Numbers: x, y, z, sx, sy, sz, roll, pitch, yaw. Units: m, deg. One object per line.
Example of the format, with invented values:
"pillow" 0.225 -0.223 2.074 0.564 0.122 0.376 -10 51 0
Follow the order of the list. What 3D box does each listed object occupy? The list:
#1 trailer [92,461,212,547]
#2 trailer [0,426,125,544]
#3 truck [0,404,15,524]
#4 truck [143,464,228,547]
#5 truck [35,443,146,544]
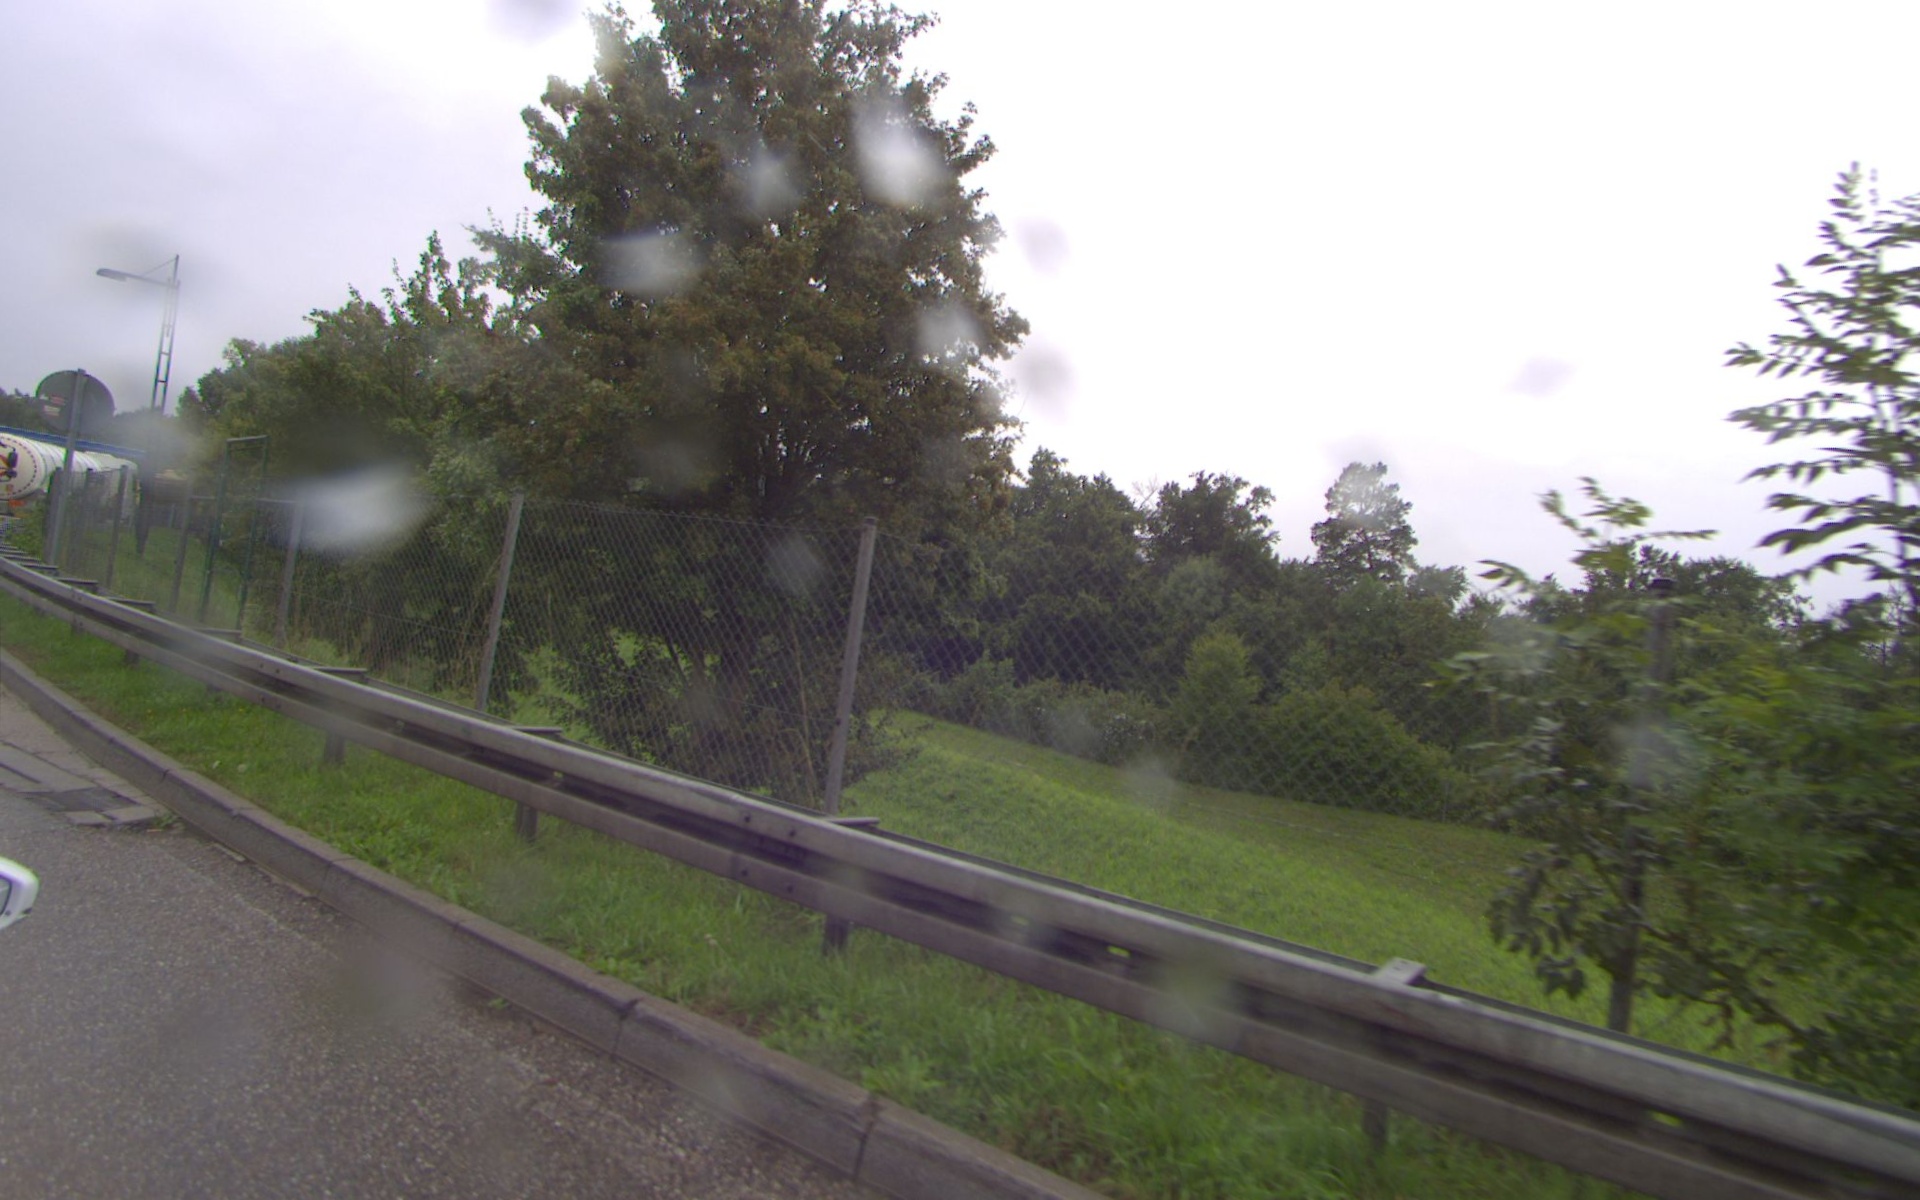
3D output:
"trailer" -39.741 -4.583 49.753 2.160 3.433 7.527 7 -1 -21
"trailer" -32.534 -3.927 35.771 2.114 3.481 10.179 7 -1 -28
"truck" -24.575 -3.141 24.116 2.044 3.573 4.696 8 -1 -38
"truck" -41.283 -4.943 53.764 2.159 3.874 4.121 7 0 -22
"truck" -35.418 -4.222 41.135 2.129 3.555 4.613 7 -1 -28
